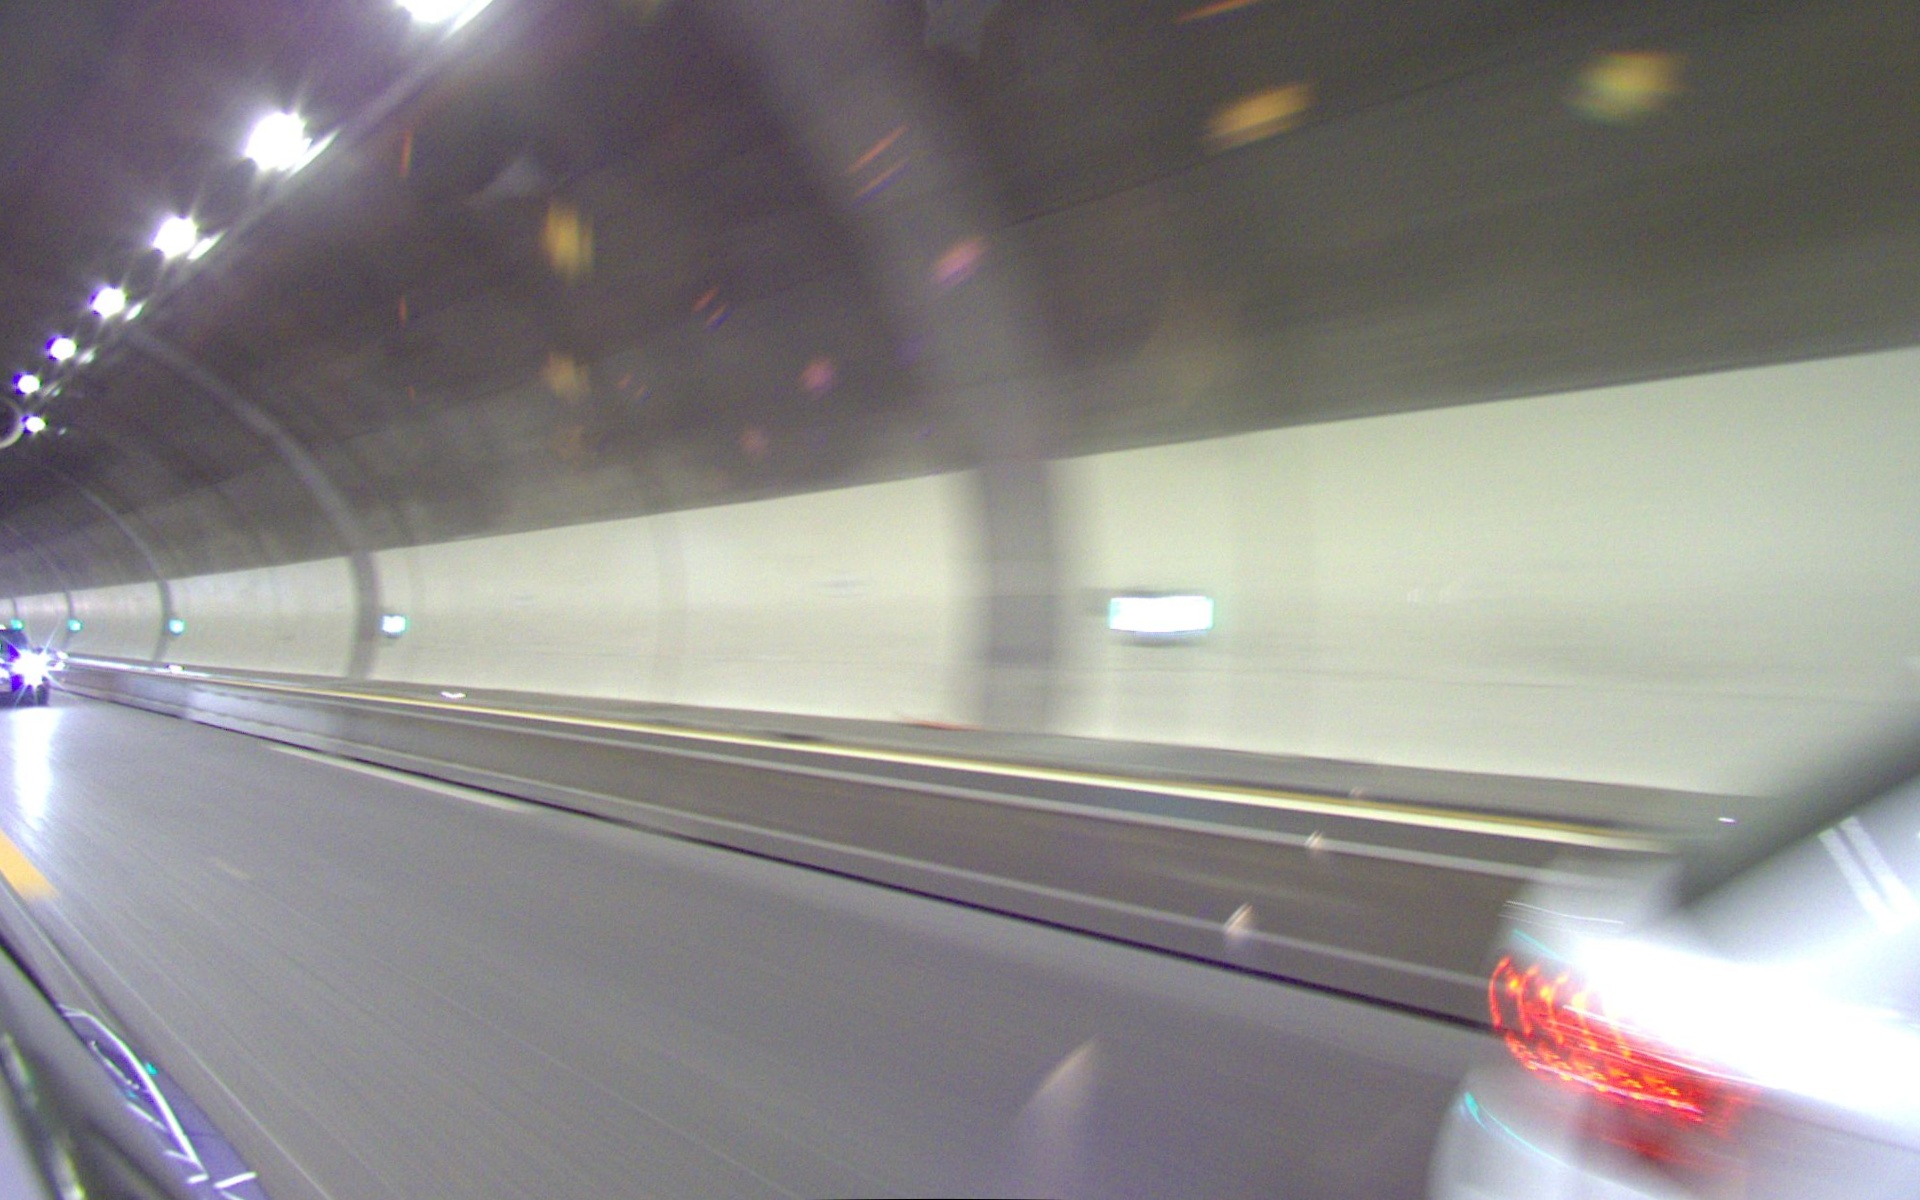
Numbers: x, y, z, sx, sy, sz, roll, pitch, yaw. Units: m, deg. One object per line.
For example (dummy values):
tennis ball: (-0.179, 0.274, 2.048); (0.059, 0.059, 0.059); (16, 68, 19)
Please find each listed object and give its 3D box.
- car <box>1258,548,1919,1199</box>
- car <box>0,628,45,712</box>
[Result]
car: (2.844, 0.704, 0.354); (4.940, 1.496, 1.884); (-2, -5, 40)
car: (-17.764, 1.199, 18.086); (3.654, 1.414, 1.635); (-1, -3, 41)
